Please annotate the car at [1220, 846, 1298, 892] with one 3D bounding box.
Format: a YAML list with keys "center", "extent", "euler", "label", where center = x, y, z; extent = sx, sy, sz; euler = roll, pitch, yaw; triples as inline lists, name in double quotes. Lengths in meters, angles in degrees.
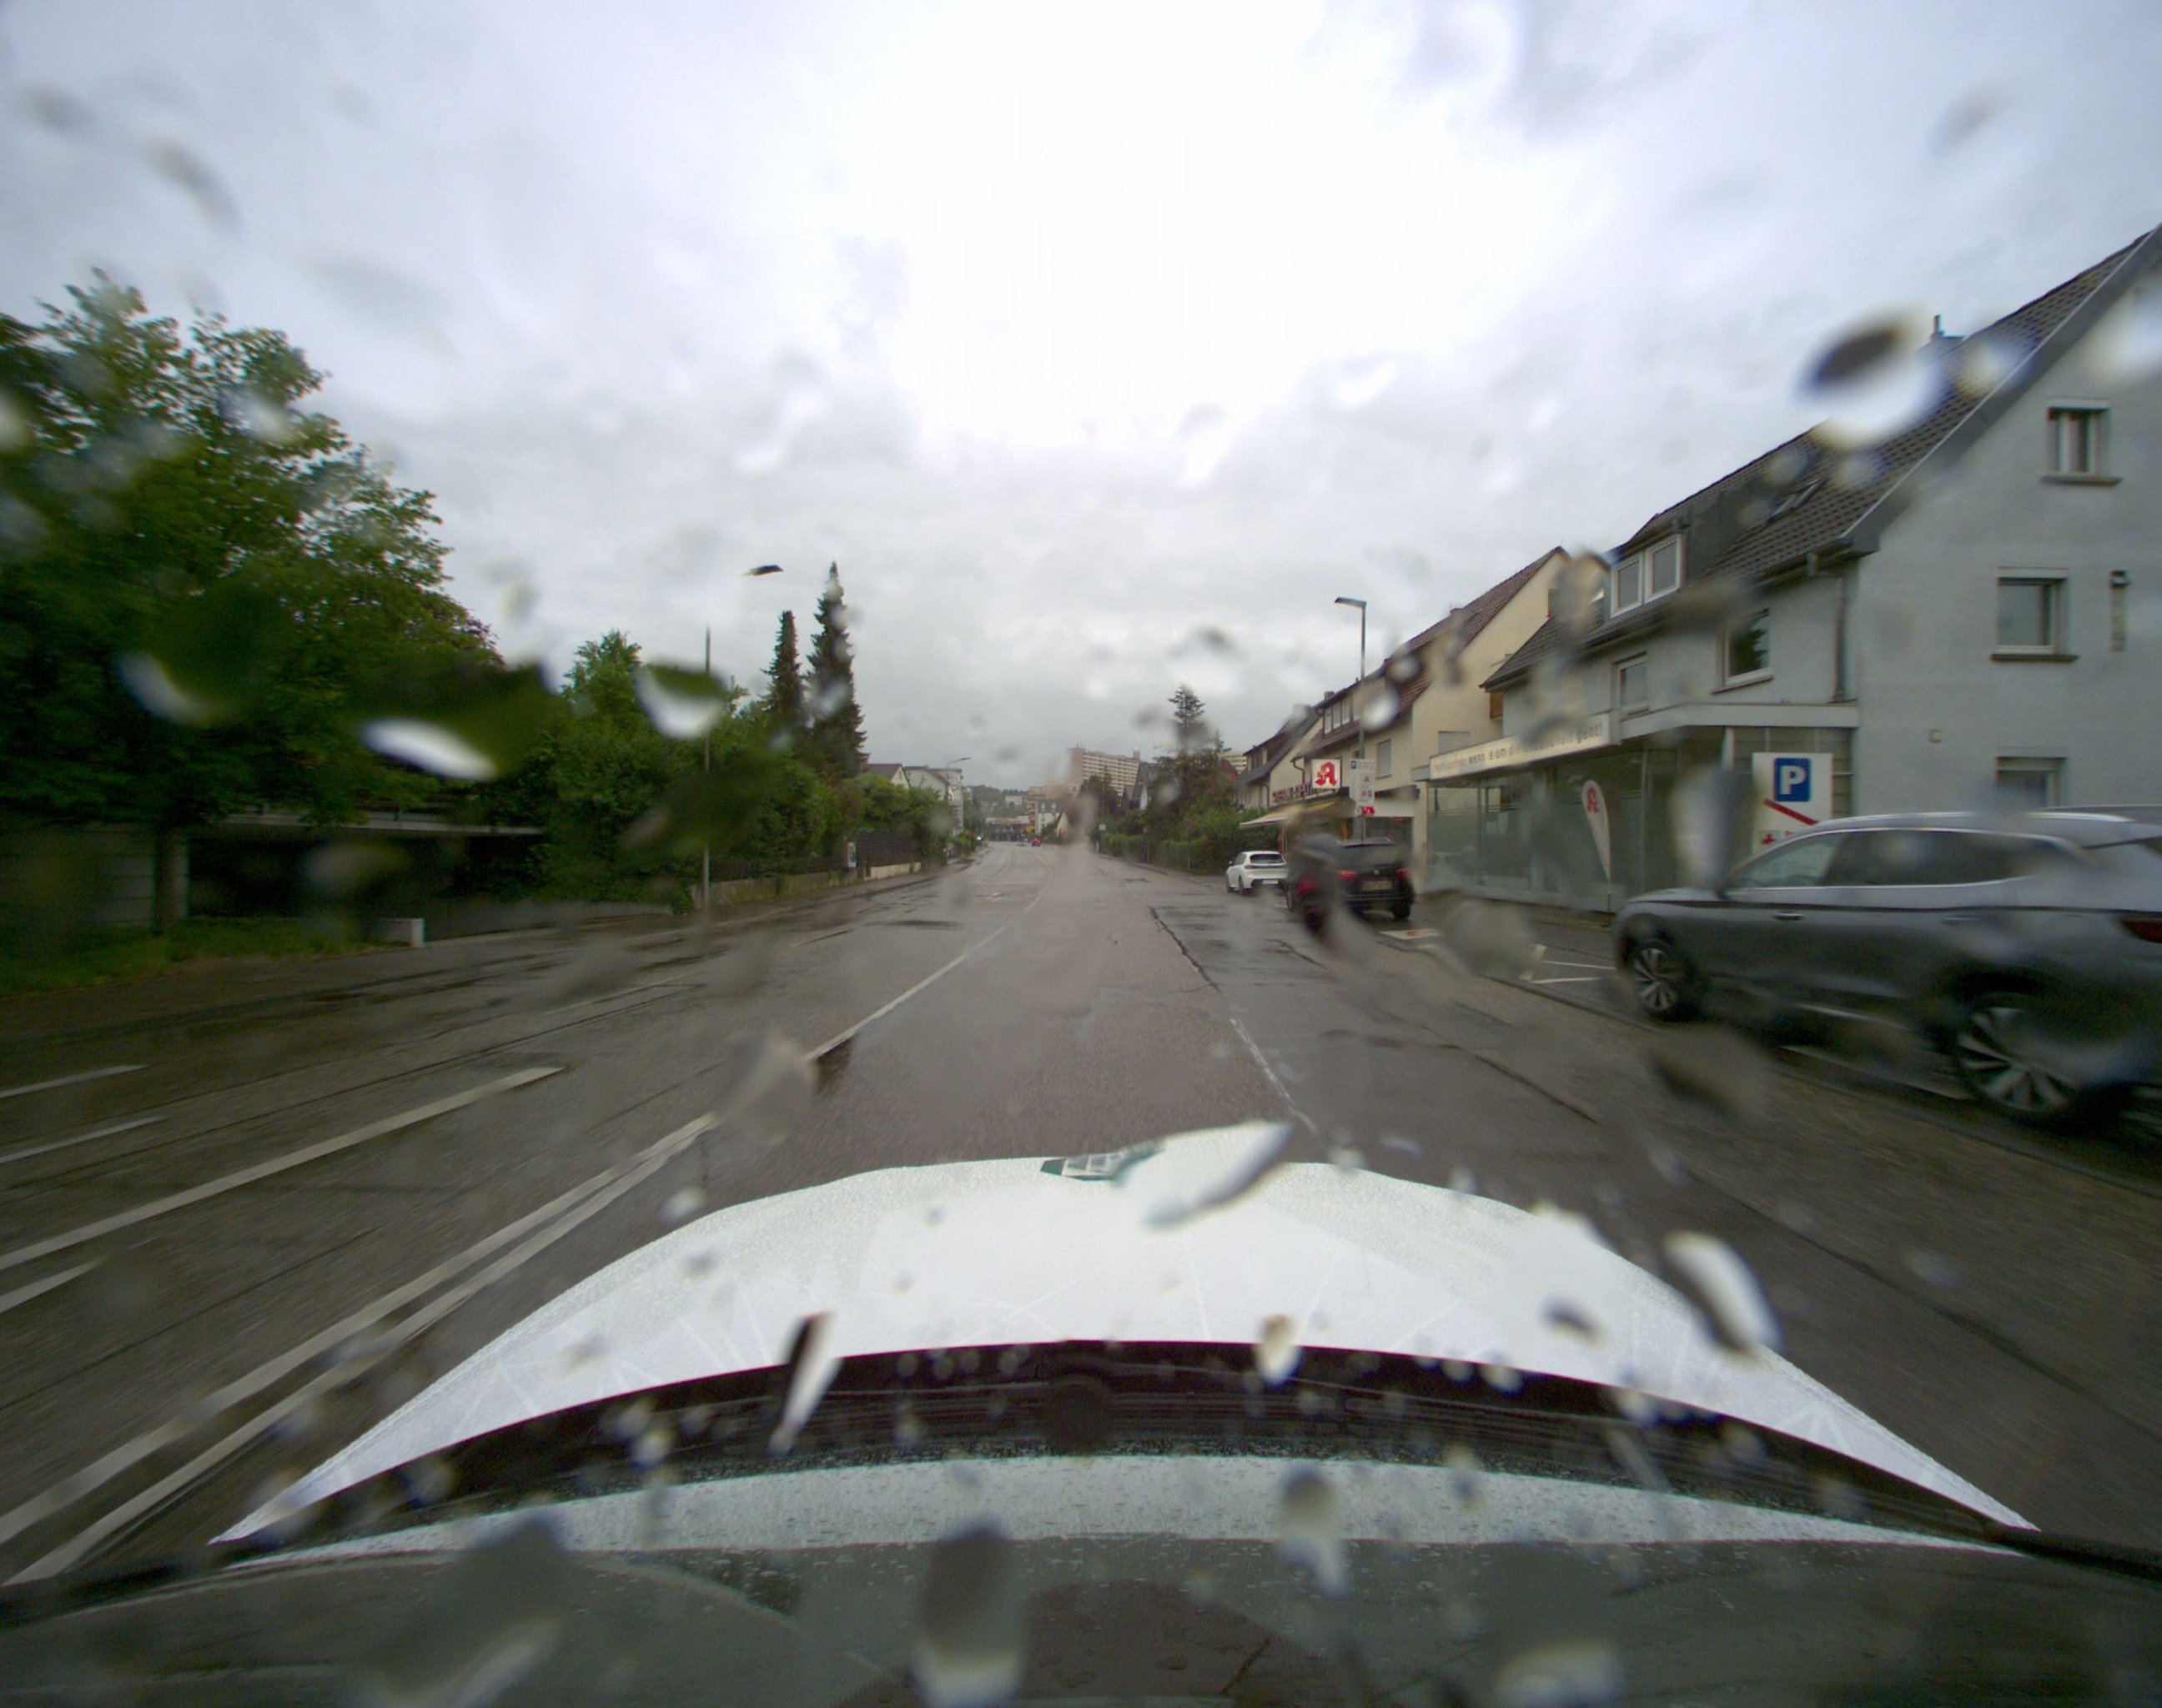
- center: [6.124, 0.468, 28.455]
  extent: [1.809, 1.448, 4.204]
  euler: [-2, 0, 1]
  label: "car"

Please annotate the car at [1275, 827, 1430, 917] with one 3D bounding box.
- center: [5.943, 0.381, 18.566]
  extent: [2.027, 1.695, 4.966]
  euler: [-2, -1, 2]
  label: "car"

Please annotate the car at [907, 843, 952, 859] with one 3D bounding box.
- center: [-14.915, -0.288, 80.243]
  extent: [3.972, 1.434, 1.972]
  euler: [1, 1, 1]
  label: "car"

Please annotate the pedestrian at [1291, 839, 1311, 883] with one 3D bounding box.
- center: [8.403, 0.269, 31.168]
  extent: [0.554, 1.678, 0.511]
  euler: [0, 0, -37]
  label: "pedestrian"

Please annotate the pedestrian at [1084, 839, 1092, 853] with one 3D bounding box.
- center: [0.887, -1.013, 104.859]
  extent: [0.826, 1.797, 0.794]
  euler: [-1, 1, -23]
  label: "pedestrian"

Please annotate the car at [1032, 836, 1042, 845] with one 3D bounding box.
- center: [-8.869, -2.760, 164.186]
  extent: [1.790, 1.669, 3.996]
  euler: [-1, 0, -3]
  label: "car"

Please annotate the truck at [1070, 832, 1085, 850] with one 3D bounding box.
- center: [-0.431, -1.759, 109.026]
  extent: [1.987, 2.303, 3.999]
  euler: [0, 1, -1]
  label: "truck"

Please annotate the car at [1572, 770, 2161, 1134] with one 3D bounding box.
- center: [5.814, 0.427, 5.693]
  extent: [1.868, 1.643, 4.792]
  euler: [-2, -1, 1]
  label: "car"

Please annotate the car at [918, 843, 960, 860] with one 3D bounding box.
- center: [-15.067, -0.282, 86.593]
  extent: [3.959, 1.686, 1.815]
  euler: [0, 0, 13]
  label: "car"

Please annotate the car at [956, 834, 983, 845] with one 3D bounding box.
- center: [-20.617, -2.684, 151.079]
  extent: [4.496, 2.013, 2.005]
  euler: [1, 1, 8]
  label: "car"

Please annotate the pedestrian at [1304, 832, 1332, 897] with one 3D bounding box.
- center: [7.083, 0.302, 24.294]
  extent: [0.616, 1.891, 0.651]
  euler: [0, 0, 36]
  label: "pedestrian"
